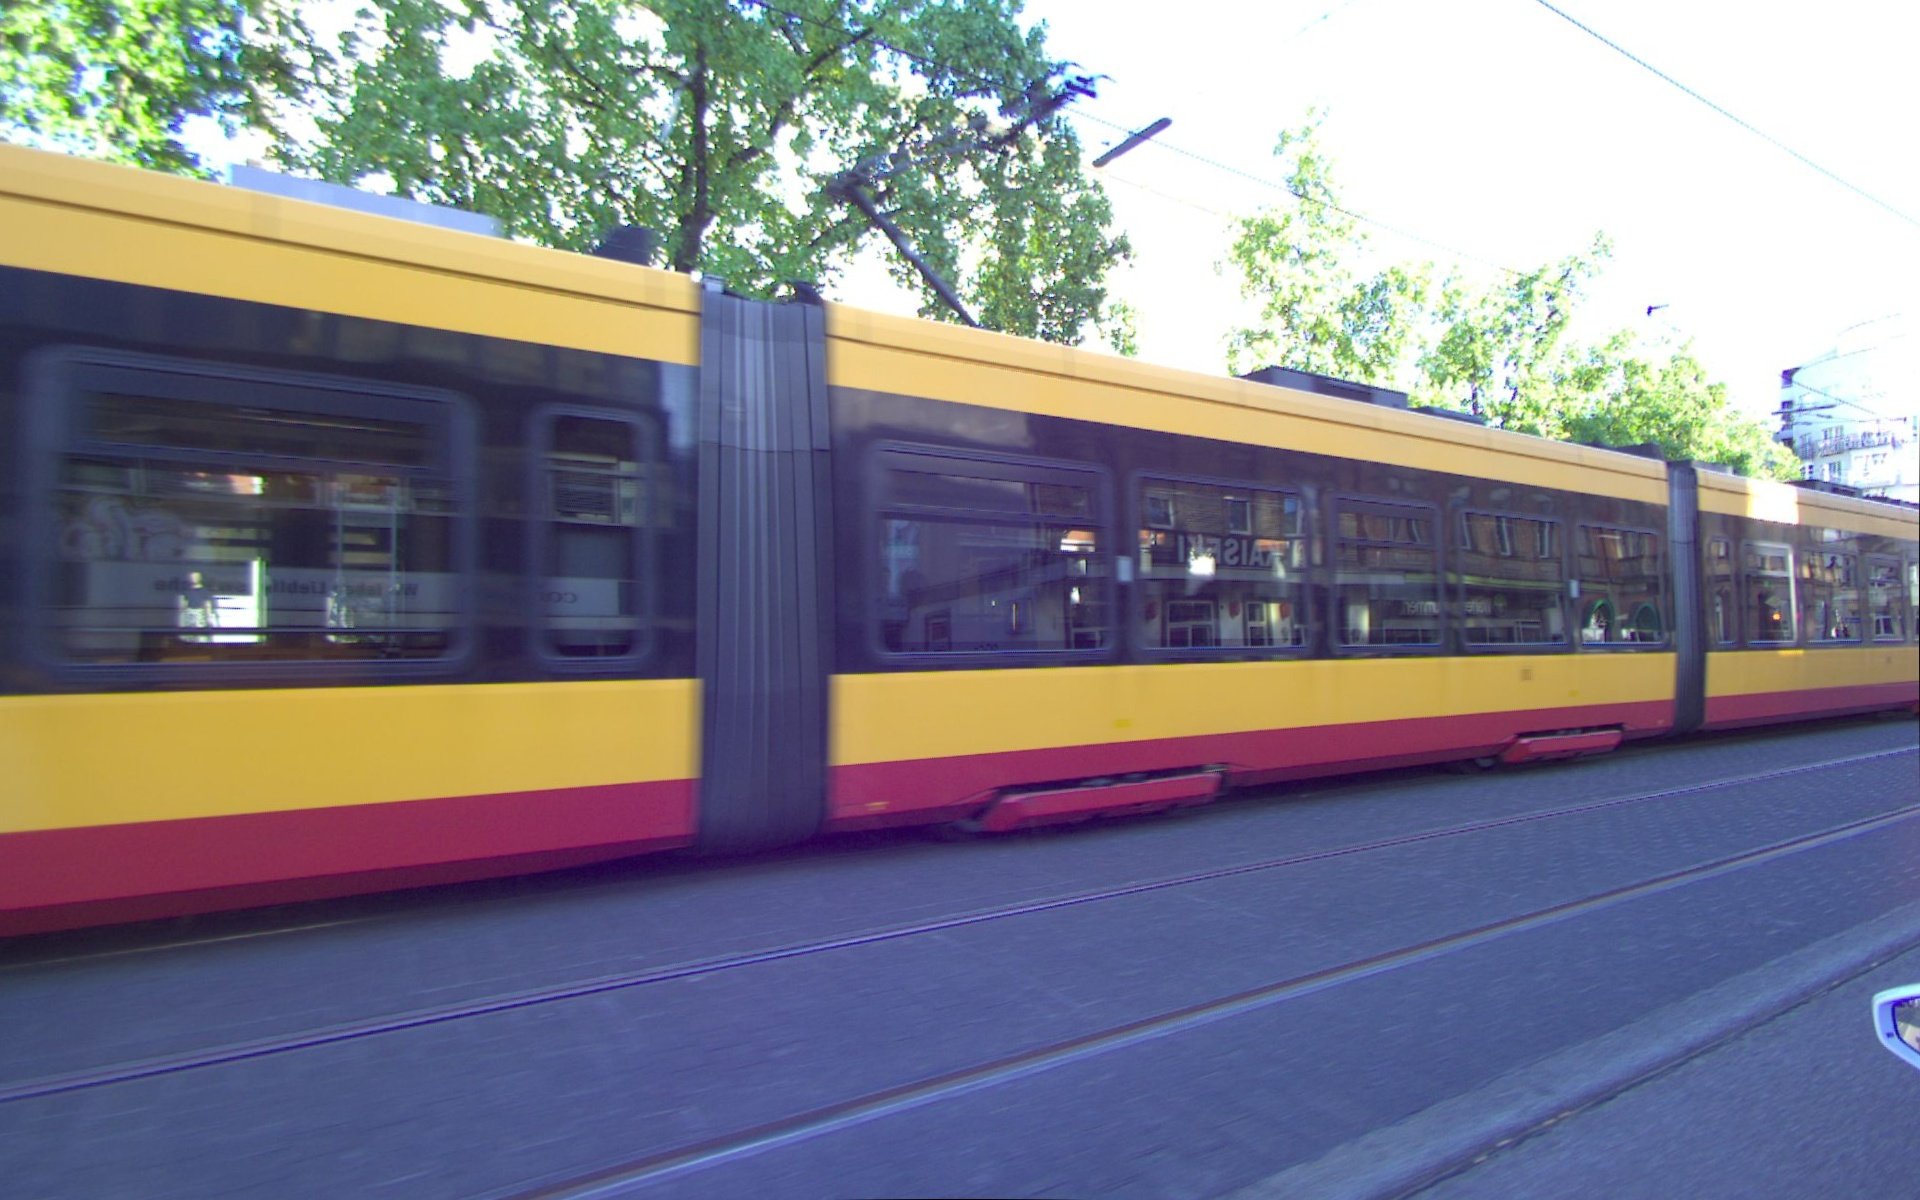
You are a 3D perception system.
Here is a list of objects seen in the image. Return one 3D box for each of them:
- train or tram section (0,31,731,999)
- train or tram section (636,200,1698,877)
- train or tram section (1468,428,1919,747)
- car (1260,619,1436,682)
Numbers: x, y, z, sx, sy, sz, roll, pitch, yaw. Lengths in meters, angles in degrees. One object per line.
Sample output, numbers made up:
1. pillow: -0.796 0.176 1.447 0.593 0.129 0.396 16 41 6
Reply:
1. train or tram section: -7.119 -0.365 3.083 12.331 3.597 2.744 2 -2 -33
2. train or tram section: 2.902 -0.180 9.425 11.004 3.597 2.661 2 -2 -33
3. train or tram section: 12.926 0.034 15.849 12.701 3.597 2.661 2 -2 -33
4. car: 10.332 1.293 26.797 4.192 1.448 1.764 1 0 28
